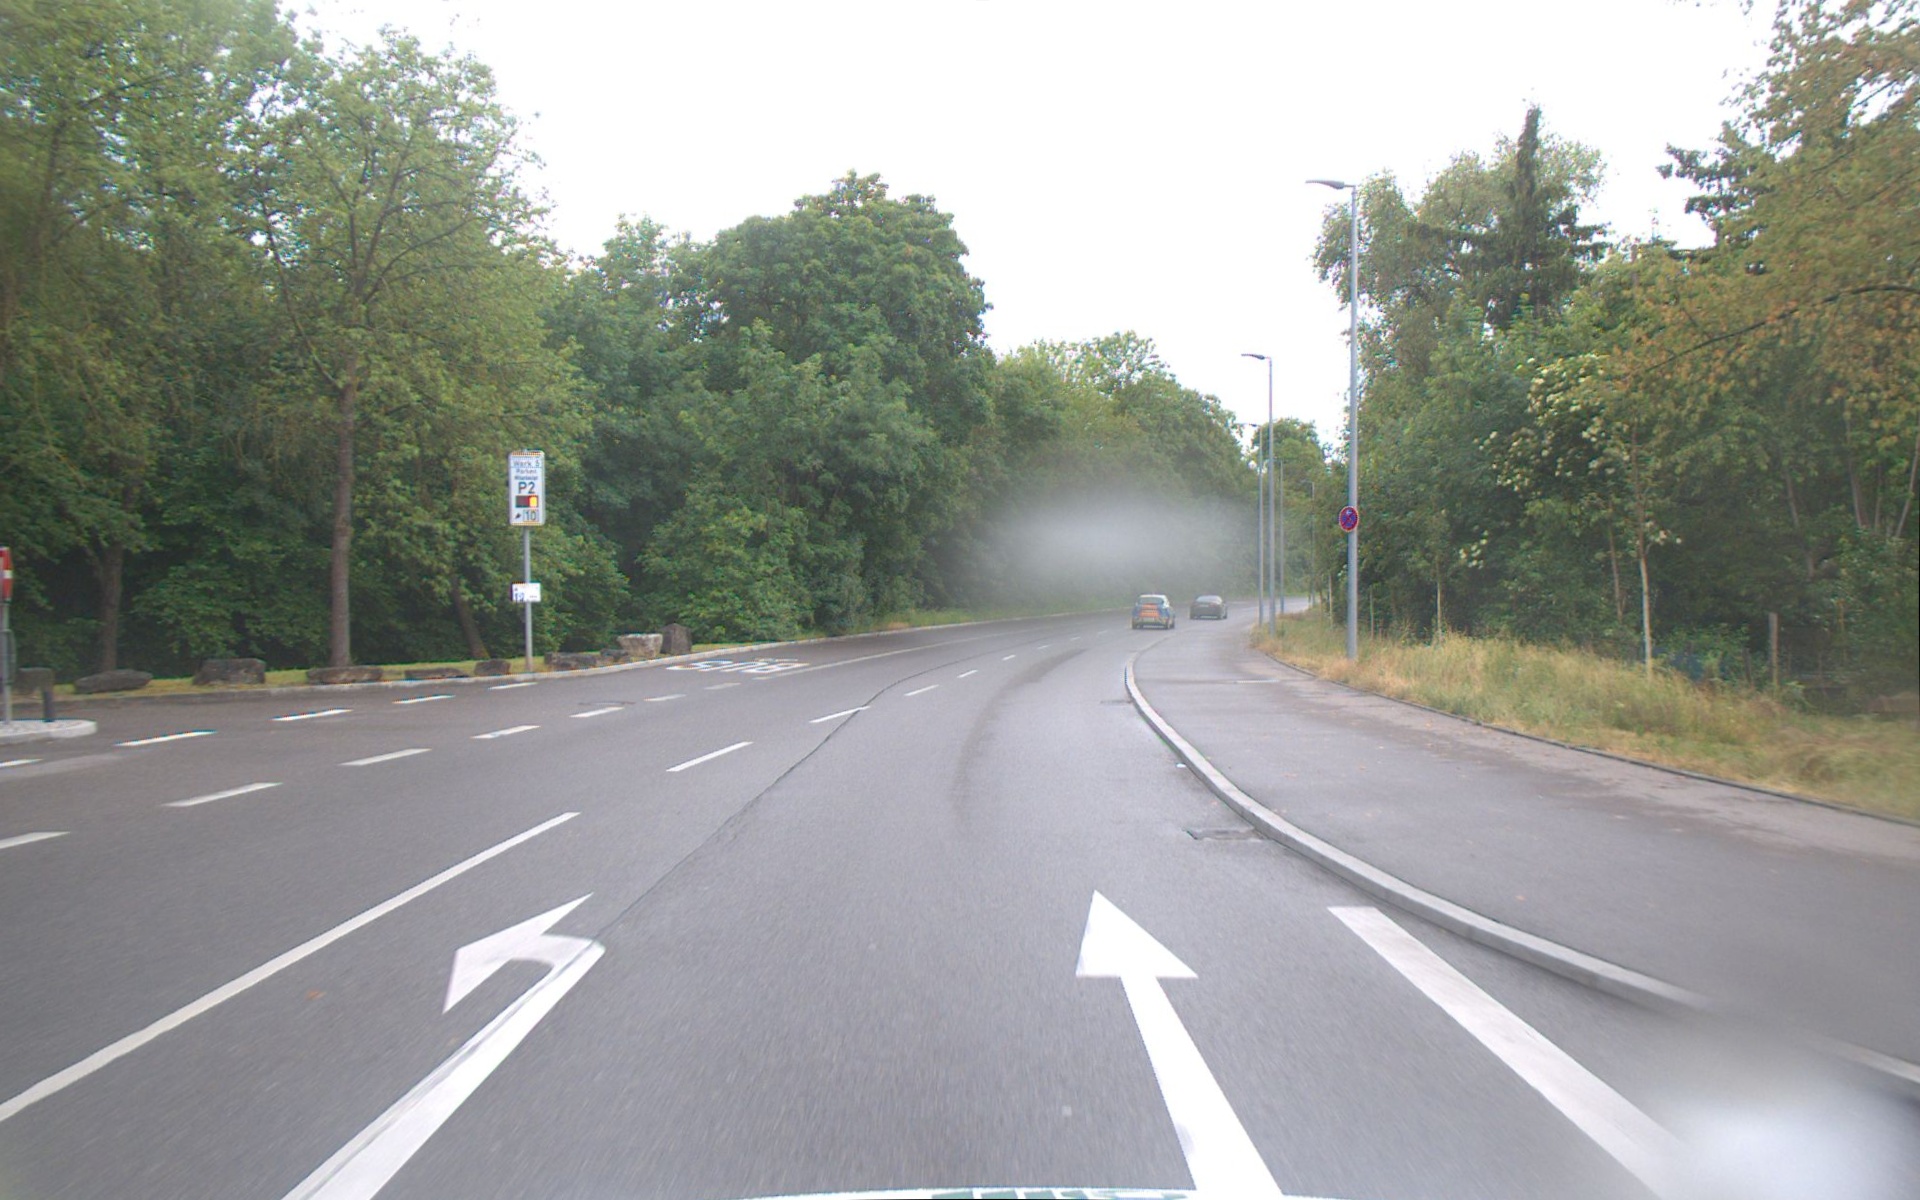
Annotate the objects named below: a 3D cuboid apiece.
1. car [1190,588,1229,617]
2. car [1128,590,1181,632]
[{"bbox_3d":[14.673,0.143,97.219,1.886,1.512,3.803,-1,2,14],"label":"car"},{"bbox_3d":[9.052,0.512,76.821,1.951,1.718,4.004,-1,2,14],"label":"car"}]
